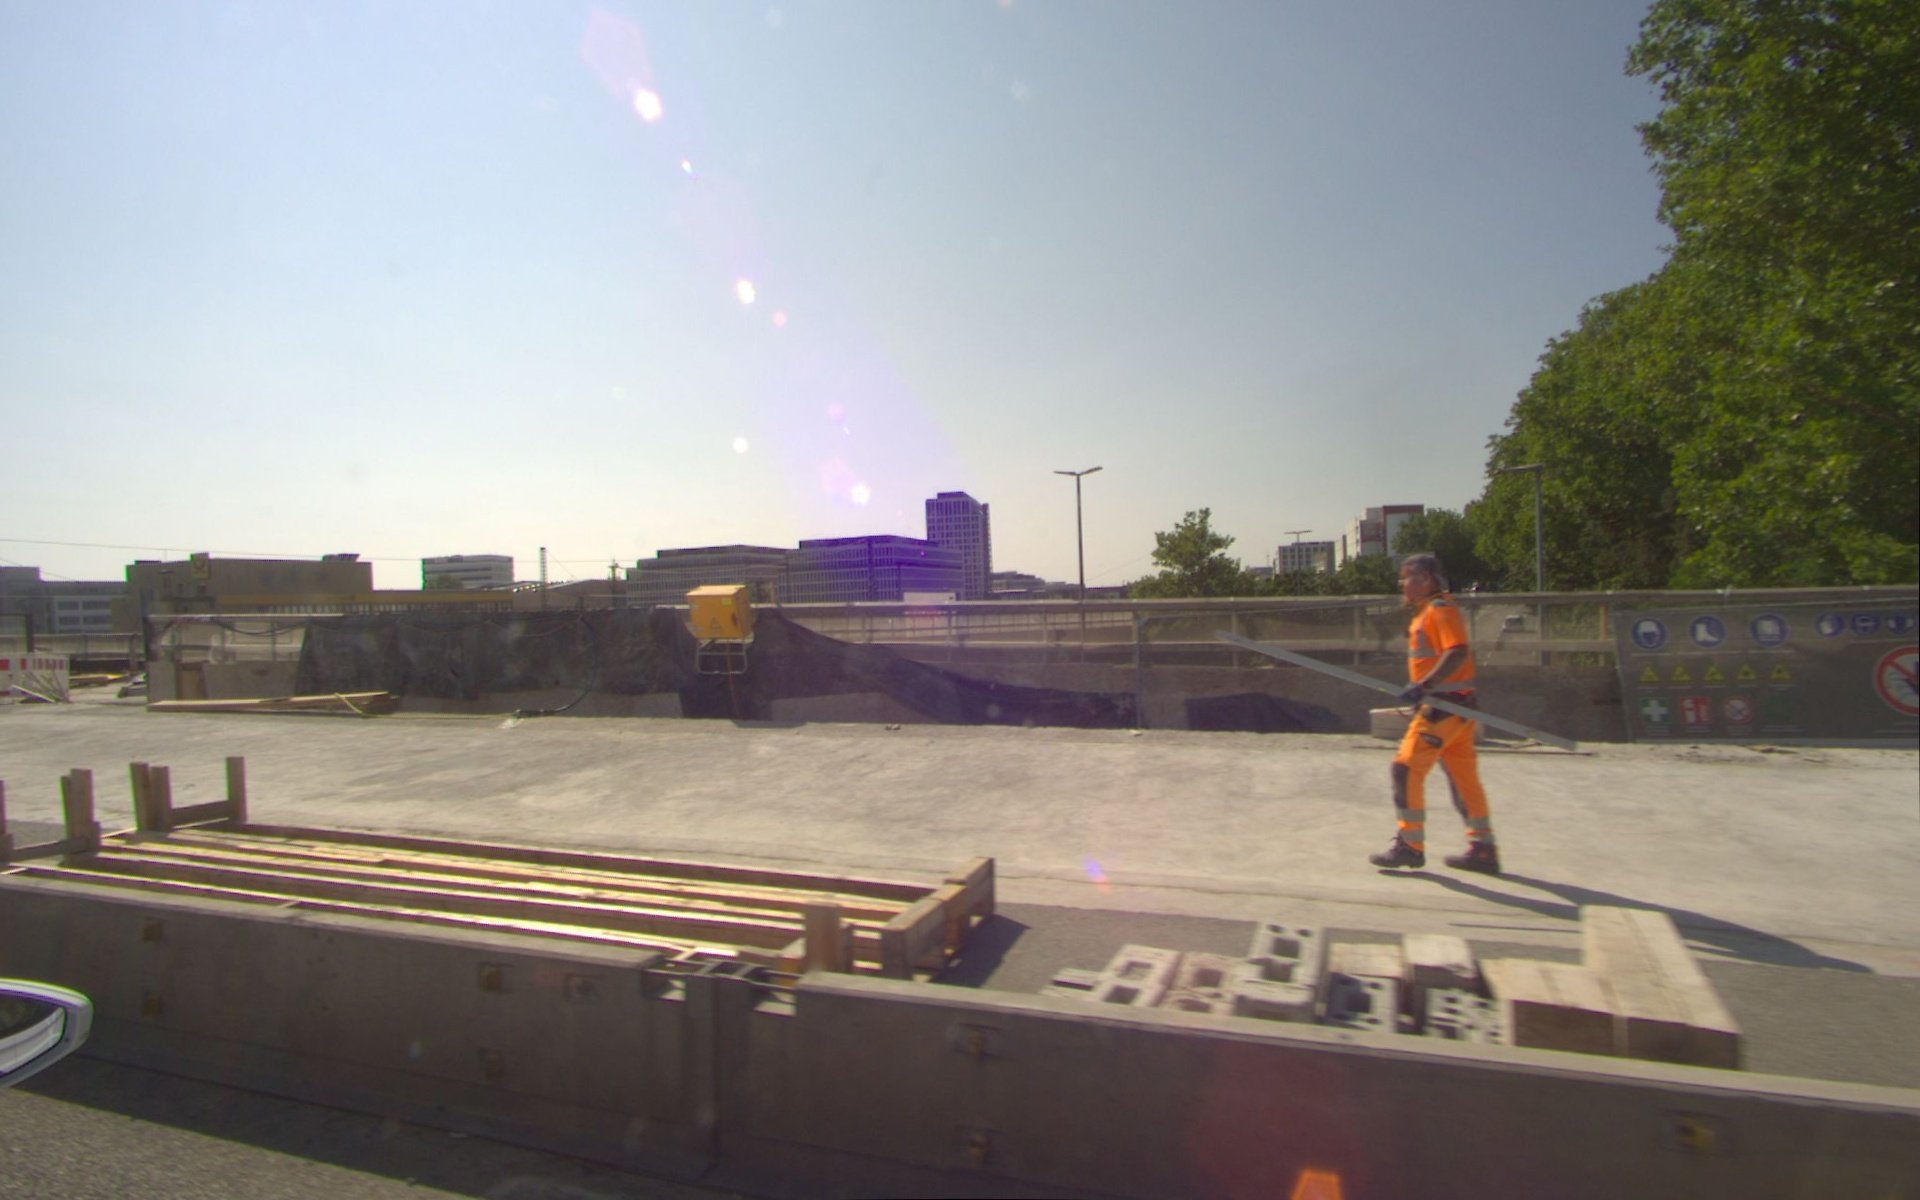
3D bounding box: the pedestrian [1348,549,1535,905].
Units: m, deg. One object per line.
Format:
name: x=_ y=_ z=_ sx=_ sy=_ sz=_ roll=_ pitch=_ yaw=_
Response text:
pedestrian: x=2.656 y=0.646 z=5.624 sx=0.849 sy=1.820 sz=0.819 roll=-1 pitch=3 yaw=20
